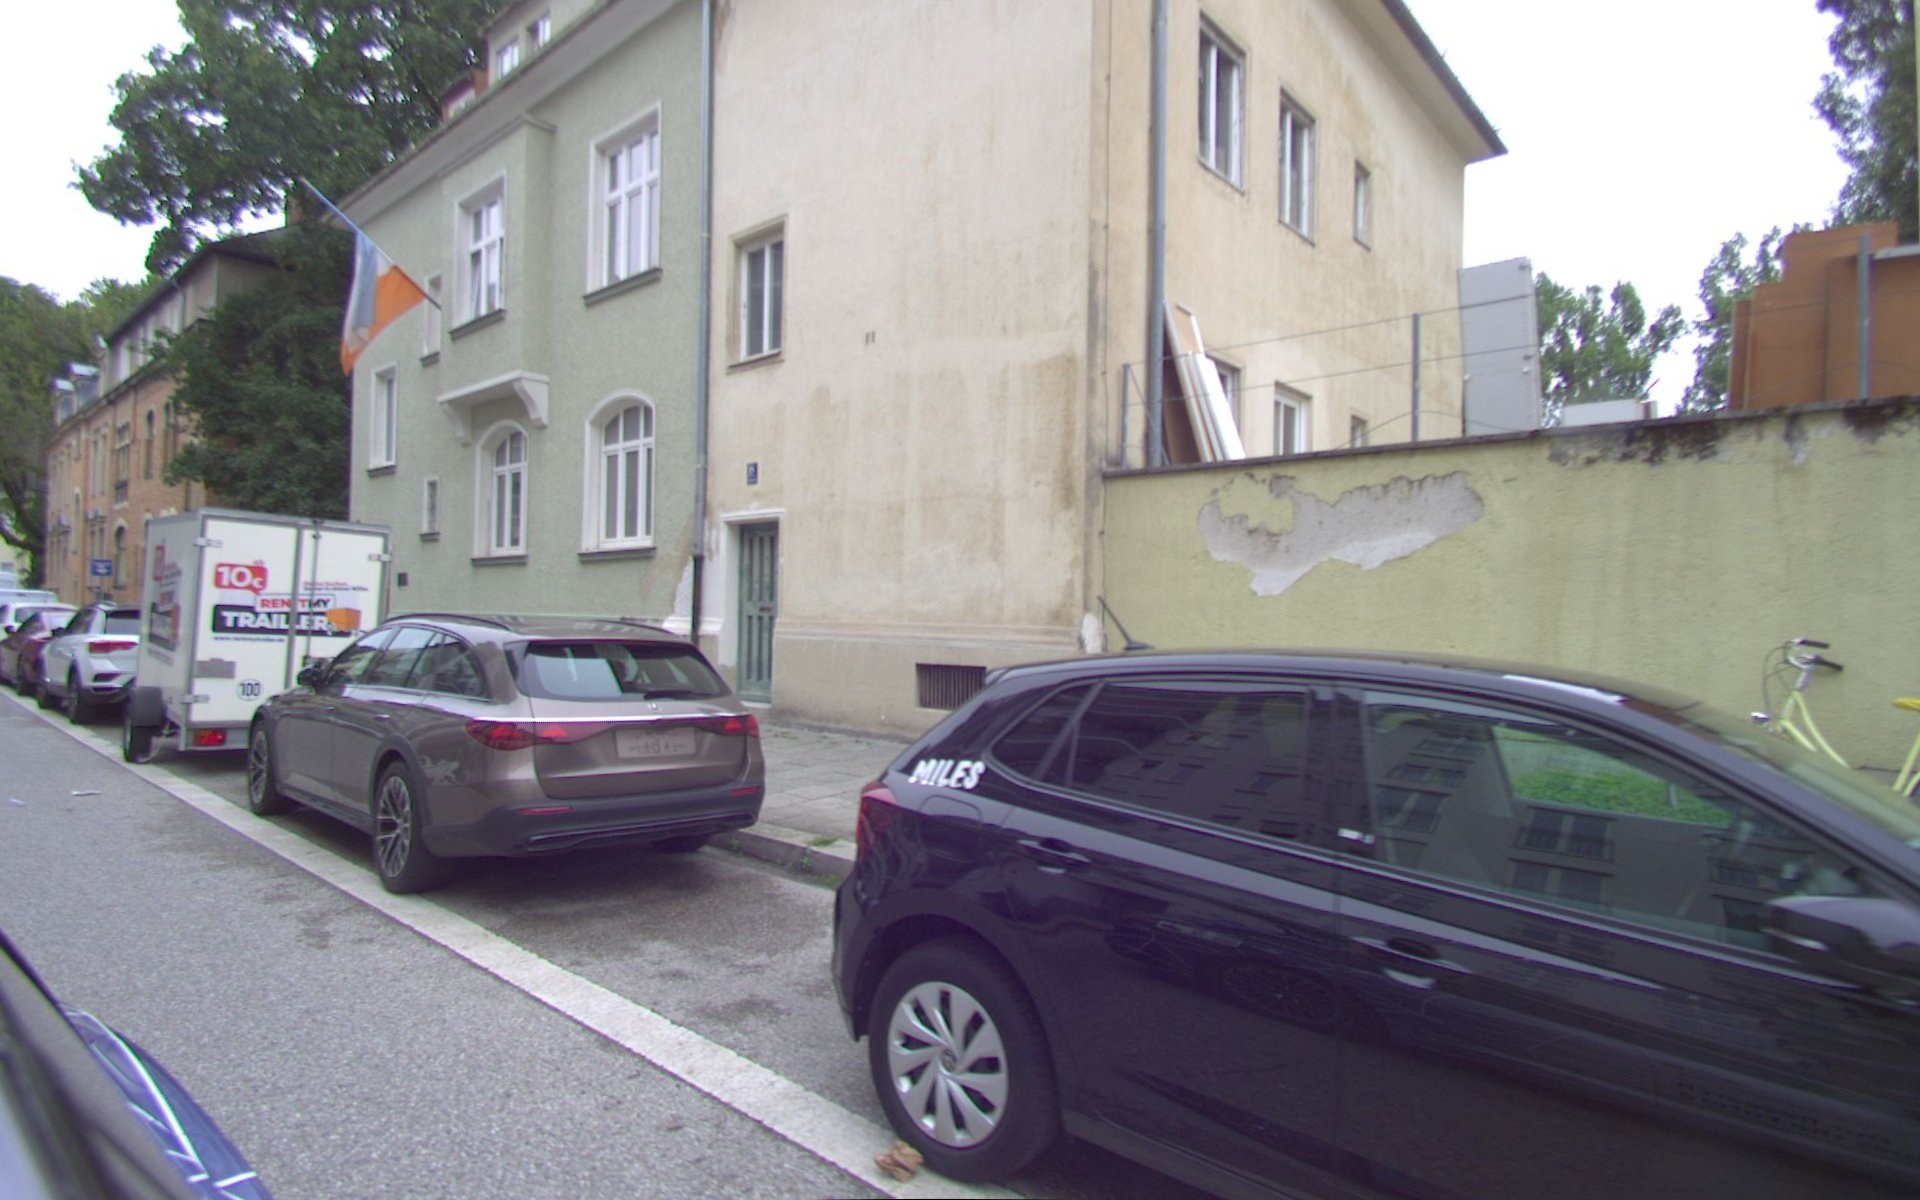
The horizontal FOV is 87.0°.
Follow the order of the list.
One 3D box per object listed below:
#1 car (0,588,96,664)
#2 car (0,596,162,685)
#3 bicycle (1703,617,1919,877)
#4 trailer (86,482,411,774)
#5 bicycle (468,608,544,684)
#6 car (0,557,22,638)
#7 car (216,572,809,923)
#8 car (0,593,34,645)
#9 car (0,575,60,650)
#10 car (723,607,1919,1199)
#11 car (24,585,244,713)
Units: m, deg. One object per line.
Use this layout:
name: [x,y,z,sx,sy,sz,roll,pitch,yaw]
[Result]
car: [-19.620,0.540,21.307,3.518,1.479,1.610,0,-2,41]
car: [-15.635,0.660,17.759,4.400,1.378,1.727,0,-2,41]
bicycle: [4.976,0.729,5.155,1.867,1.243,0.794,1,-1,41]
trailer: [-7.823,0.288,10.927,4.579,2.490,1.953,0,-3,45]
bicycle: [-7.008,0.679,15.588,1.522,1.093,0.455,1,1,41]
car: [-32.039,-0.090,32.569,5.228,2.495,2.090,0,-2,41]
car: [-3.367,0.700,6.921,5.092,1.553,1.843,0,-3,43]
car: [-27.941,0.527,28.909,4.164,1.431,1.697,0,-2,41]
car: [-24.300,0.316,25.596,4.248,1.769,1.697,0,-2,41]
car: [1.479,0.779,2.421,4.281,1.447,1.659,0,-3,38]
car: [-11.645,0.624,14.179,4.104,1.542,1.662,0,-2,41]
